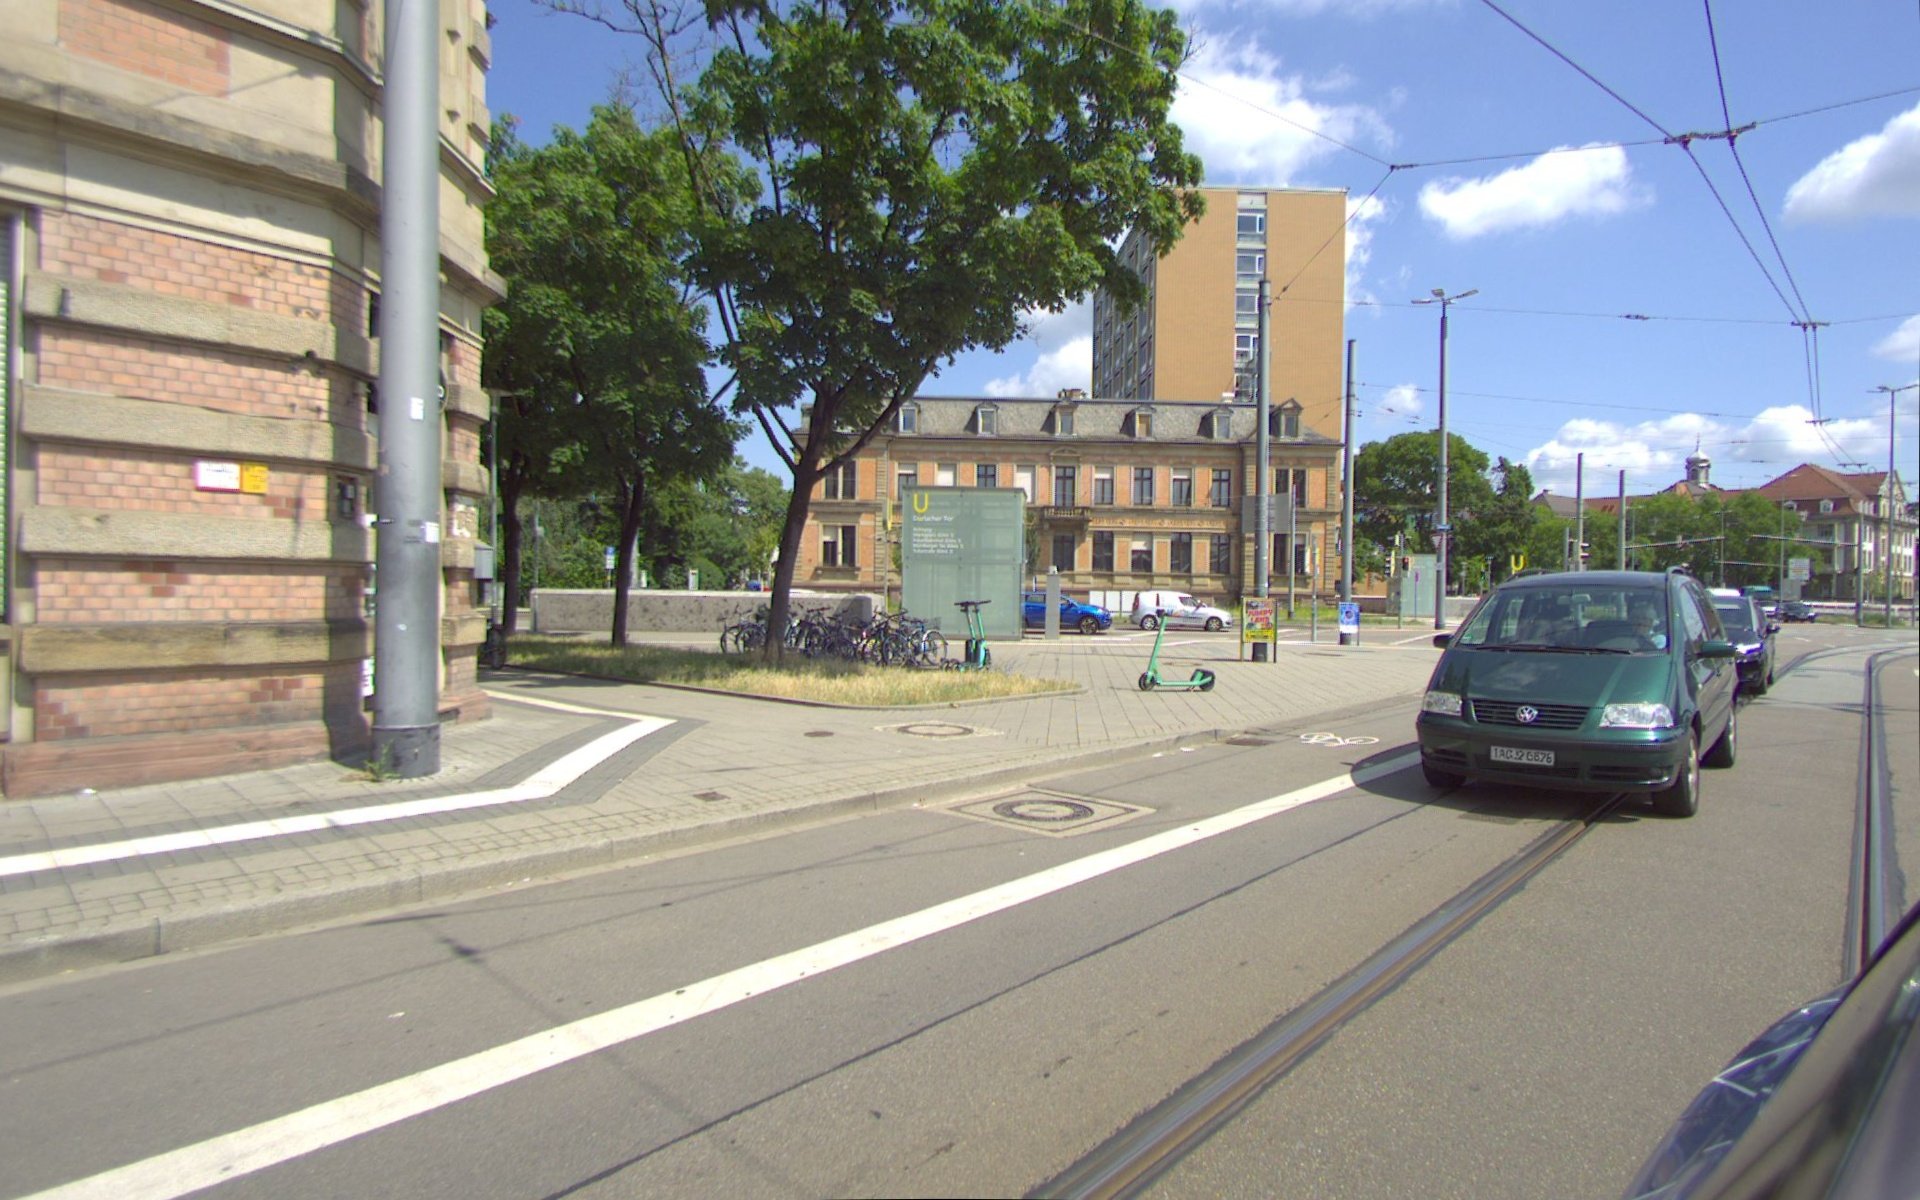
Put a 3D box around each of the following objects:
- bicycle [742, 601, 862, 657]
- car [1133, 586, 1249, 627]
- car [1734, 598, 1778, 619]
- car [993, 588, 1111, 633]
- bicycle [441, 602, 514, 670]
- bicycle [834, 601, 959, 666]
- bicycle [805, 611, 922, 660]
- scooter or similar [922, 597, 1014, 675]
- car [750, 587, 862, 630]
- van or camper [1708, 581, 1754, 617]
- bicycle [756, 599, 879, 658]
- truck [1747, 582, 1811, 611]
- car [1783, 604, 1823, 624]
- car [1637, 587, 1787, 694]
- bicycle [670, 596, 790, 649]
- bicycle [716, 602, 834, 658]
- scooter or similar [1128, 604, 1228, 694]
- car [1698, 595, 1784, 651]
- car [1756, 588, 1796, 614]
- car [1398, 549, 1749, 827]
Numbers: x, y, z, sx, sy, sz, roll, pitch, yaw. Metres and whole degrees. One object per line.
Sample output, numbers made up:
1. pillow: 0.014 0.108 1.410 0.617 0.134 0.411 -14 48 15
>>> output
1. bicycle: -3.315 0.585 21.502 2.531 1.066 0.792 0 2 -45
2. car: 9.298 0.242 41.061 4.348 1.607 1.872 1 1 5
3. car: 57.391 0.582 73.010 1.886 1.482 4.215 1 1 30
4. car: 3.472 0.371 38.478 4.349 1.570 1.872 1 2 6
5. bicycle: -8.173 0.574 17.105 0.750 1.063 1.651 1 0 -38
6. bicycle: -1.167 0.590 19.114 2.226 1.095 1.025 0 2 -45
7. bicycle: -1.876 0.696 20.002 2.250 0.891 0.842 2 0 -45
8. scooter or similar: 0.153 0.587 17.342 0.945 1.218 1.372 2 2 36
9. car: -5.909 0.294 39.061 3.927 1.585 1.936 1 1 7
10. van or camper: 61.913 -0.109 81.355 2.215 2.770 5.462 1 0 30
11. bicycle: -2.878 0.553 20.691 2.531 1.083 0.792 0 2 -45
12. truck: 90.106 -0.387 111.524 3.321 3.036 8.661 1 1 24
13. car: 60.687 0.980 72.886 1.659 1.393 3.871 1 0 32
14. car: 13.352 0.632 17.869 1.865 1.637 4.363 -2 -1 40
15. bicycle: -5.027 0.466 22.255 2.531 1.066 0.792 0 2 -45
16. bicycle: -4.003 0.612 22.075 2.531 1.104 0.792 0 2 -45
17. scooter or similar: 3.142 0.673 14.619 1.067 1.194 0.949 0 2 -41
18. car: 23.346 0.628 30.374 1.863 1.504 4.370 1 1 36
19. car: 64.430 0.060 79.969 1.800 2.039 3.958 1 1 30
20. car: 5.289 0.542 8.470 1.813 1.739 4.023 -1 0 42
